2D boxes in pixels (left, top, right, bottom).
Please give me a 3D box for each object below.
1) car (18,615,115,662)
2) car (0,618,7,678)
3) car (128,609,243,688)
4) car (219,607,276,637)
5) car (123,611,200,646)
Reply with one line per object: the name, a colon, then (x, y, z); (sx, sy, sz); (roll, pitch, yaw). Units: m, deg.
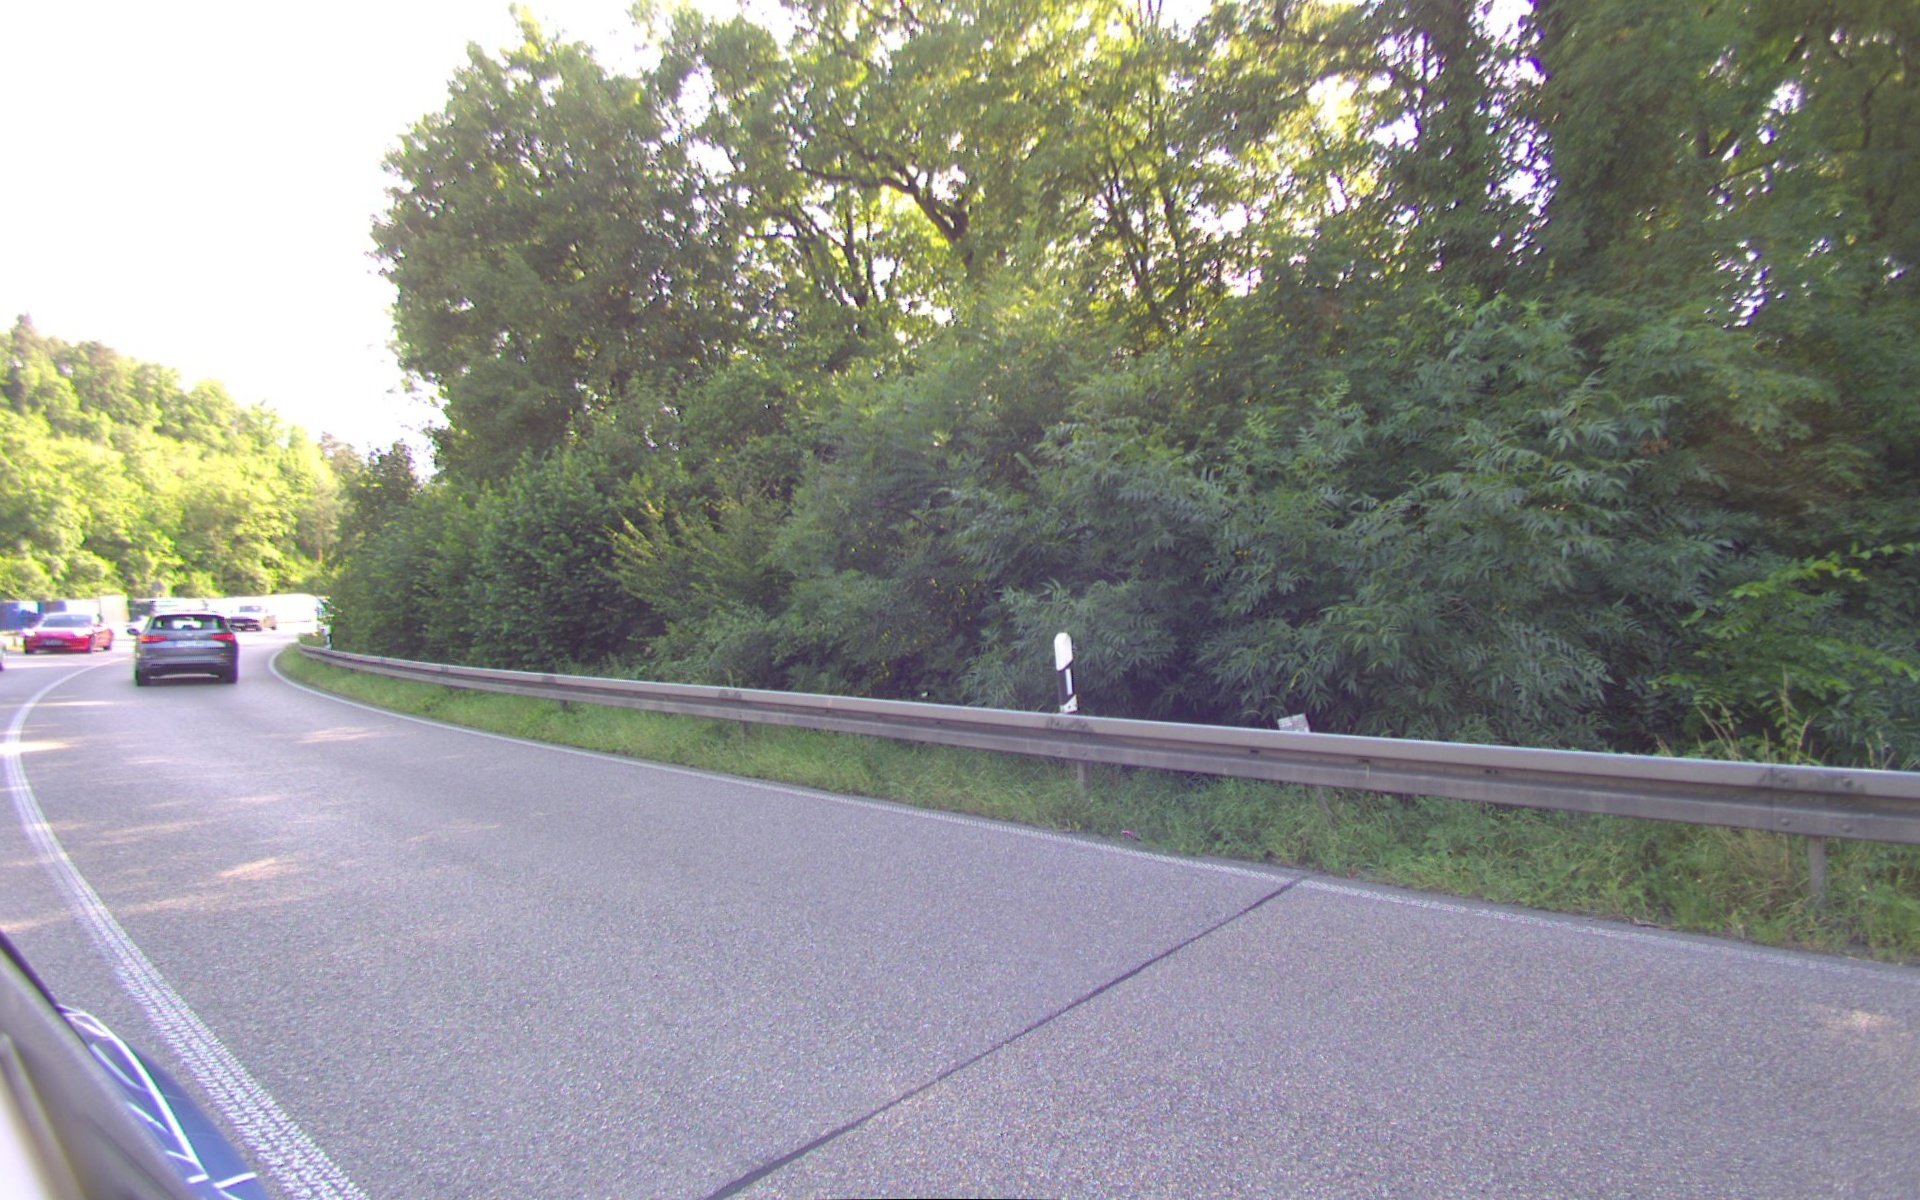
car: (-31.766, 1.302, 36.101); (1.829, 1.431, 4.432); (-3, 1, -32)
car: (-23.834, 1.212, 23.710); (1.868, 1.456, 4.483); (-3, 1, -40)
car: (-17.334, 1.056, 22.581); (1.844, 1.577, 4.006); (0, -2, -41)
car: (-43.865, 1.320, 62.390); (1.829, 1.608, 4.552); (-3, 1, -22)
car: (-38.029, 1.313, 48.295); (1.884, 1.476, 4.552); (-3, 1, -26)
